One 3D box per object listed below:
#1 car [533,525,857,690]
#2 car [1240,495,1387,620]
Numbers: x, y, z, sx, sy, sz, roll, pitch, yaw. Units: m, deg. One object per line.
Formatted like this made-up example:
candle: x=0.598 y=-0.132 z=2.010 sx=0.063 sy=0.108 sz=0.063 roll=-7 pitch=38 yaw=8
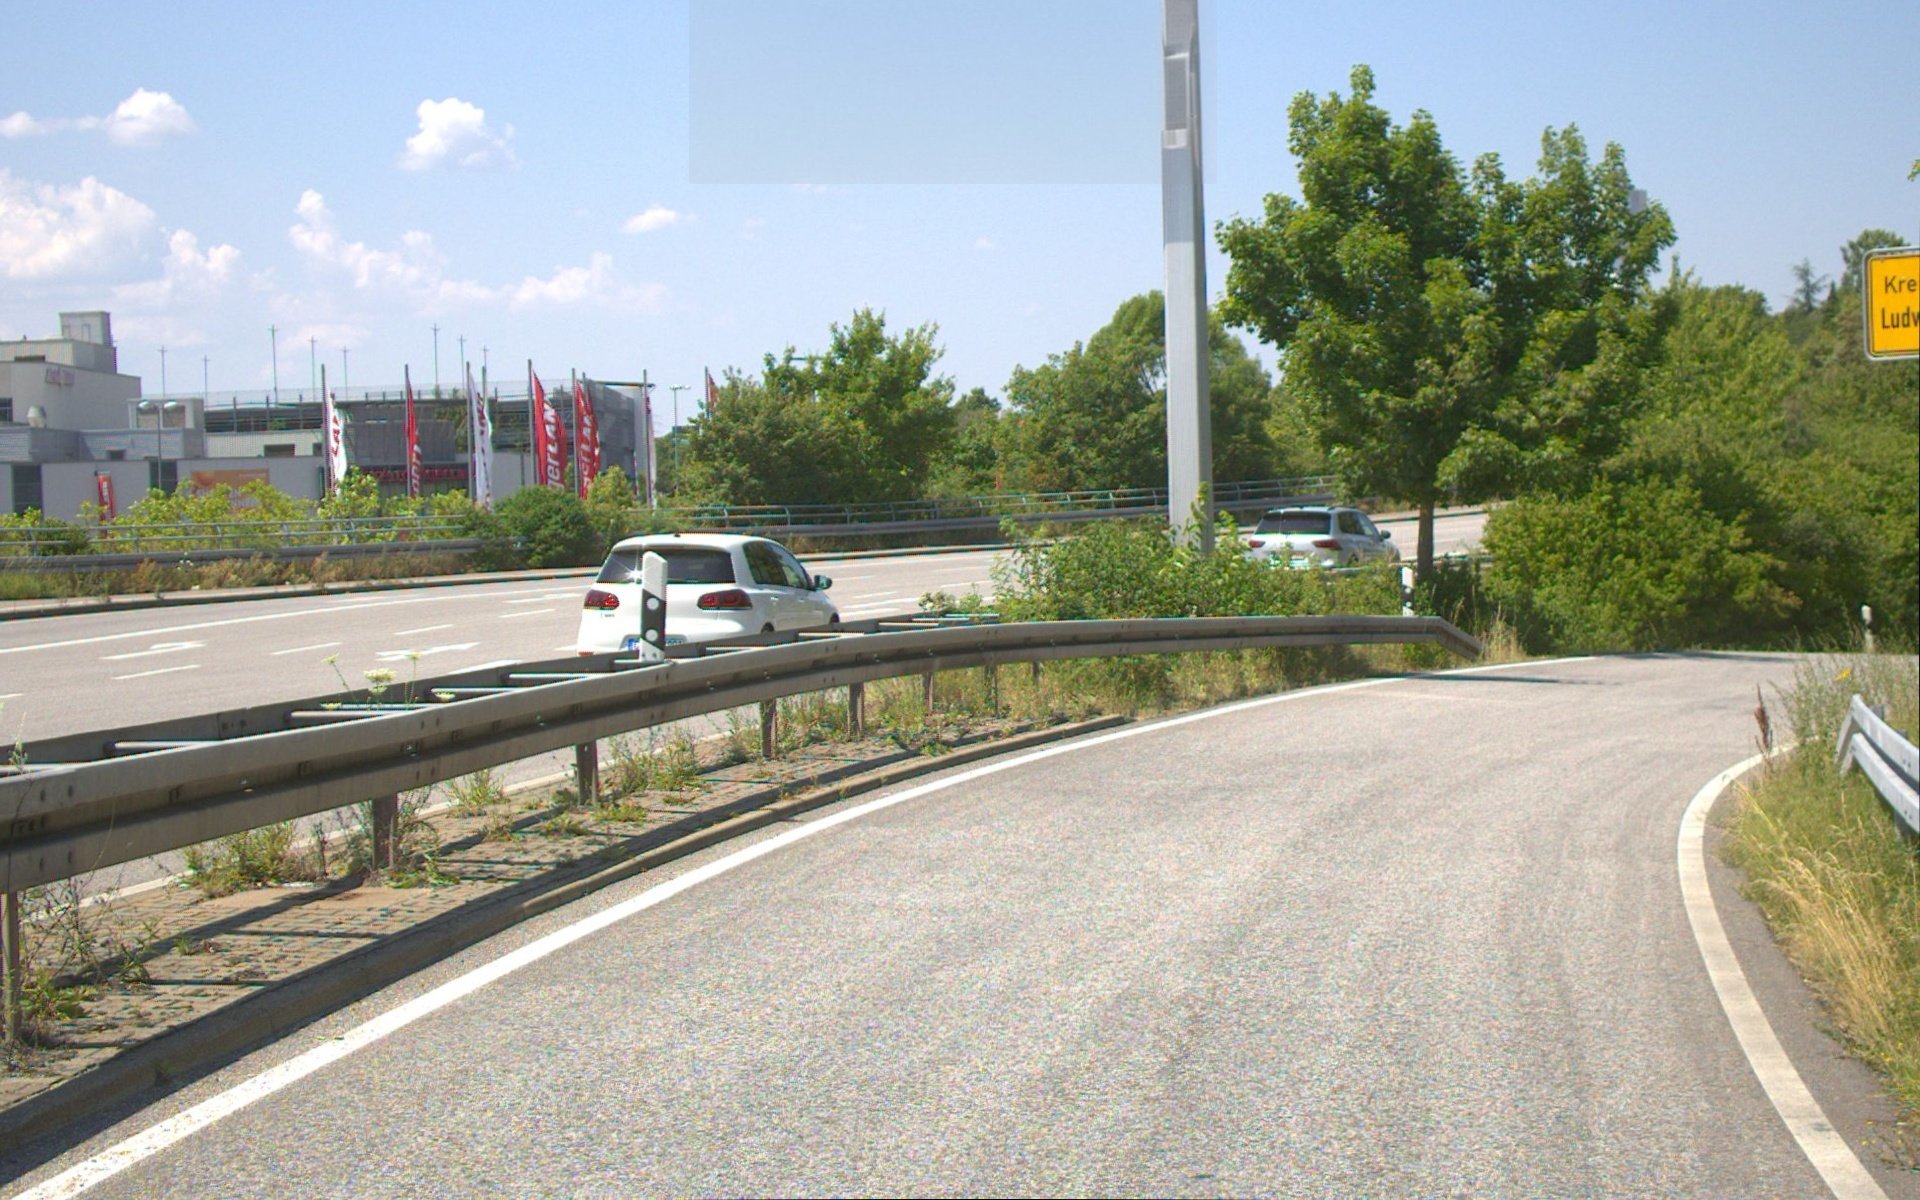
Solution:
car: x=-2.458 y=0.036 z=32.973 sx=1.994 sy=1.481 sz=4.133 roll=0 pitch=1 yaw=12
car: x=6.117 y=-0.760 z=59.098 sx=1.737 sy=2.007 sz=3.784 roll=-2 pitch=1 yaw=17
